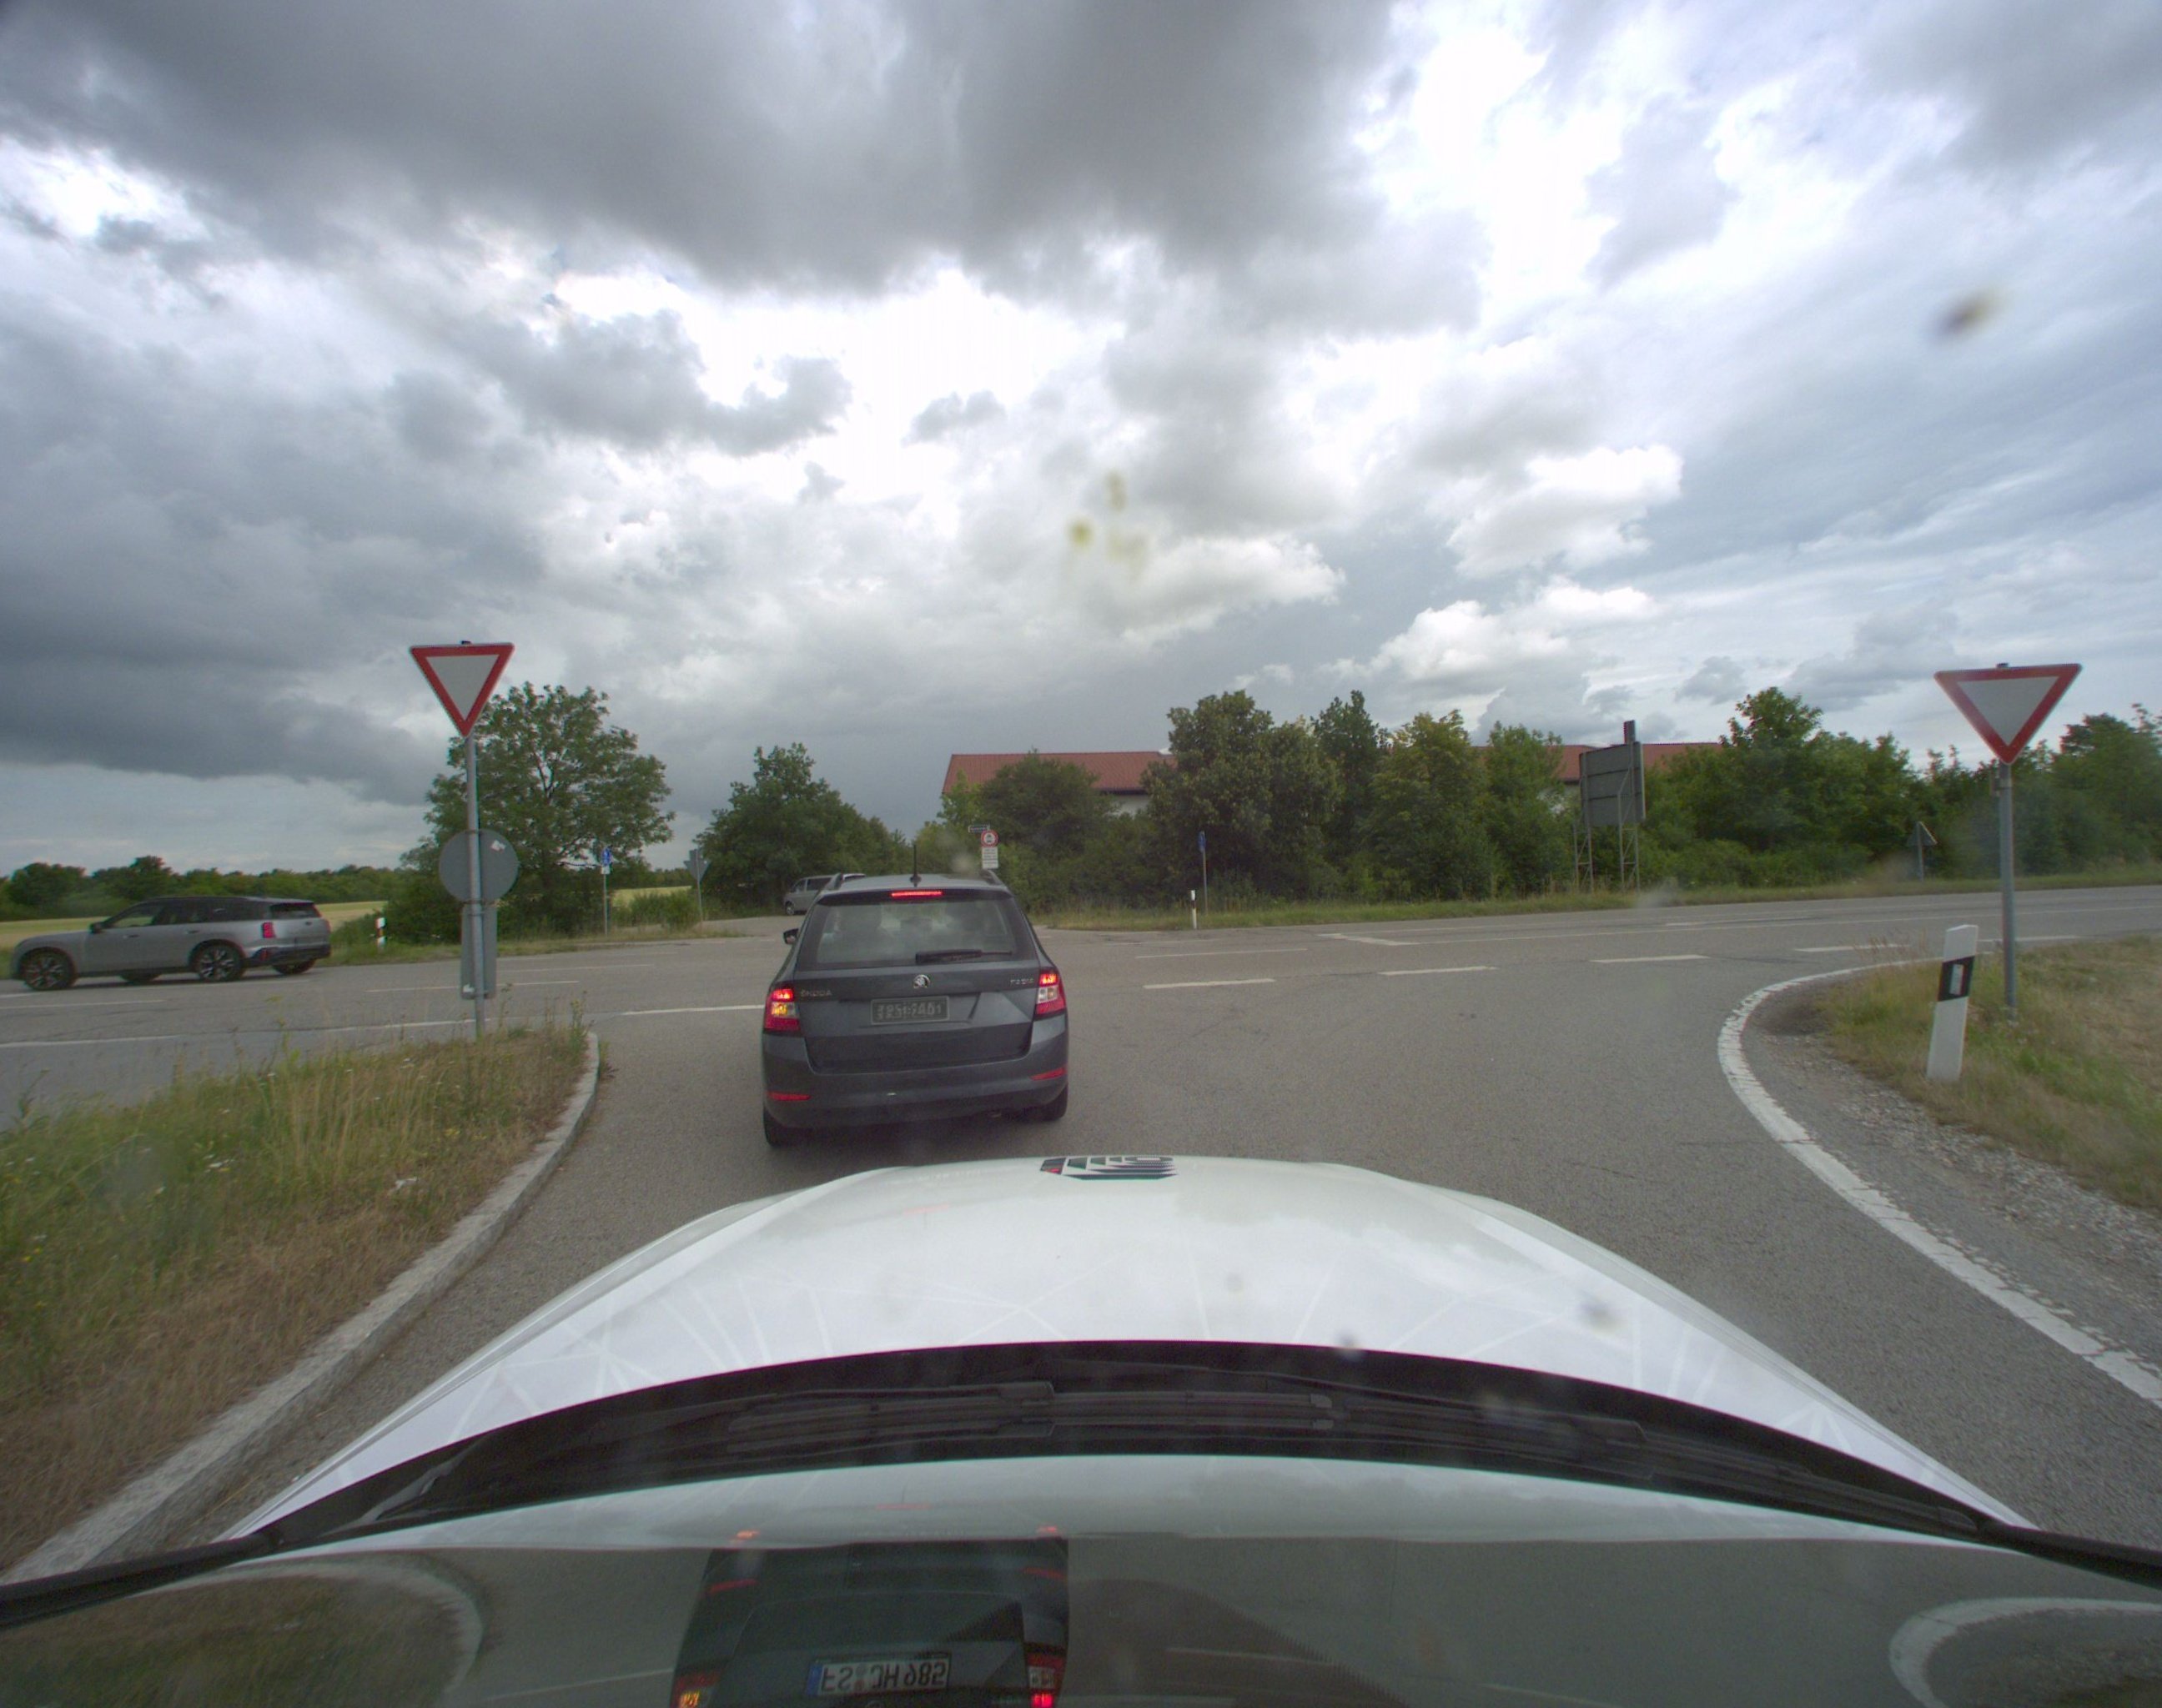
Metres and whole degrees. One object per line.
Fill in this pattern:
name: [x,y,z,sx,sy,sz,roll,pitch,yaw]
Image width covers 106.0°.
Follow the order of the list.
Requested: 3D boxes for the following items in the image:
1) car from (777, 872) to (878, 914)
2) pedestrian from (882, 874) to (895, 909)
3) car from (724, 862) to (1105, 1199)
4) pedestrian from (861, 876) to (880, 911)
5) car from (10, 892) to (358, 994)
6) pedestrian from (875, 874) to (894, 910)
car: [-12.876,1.986,41.208,5.034,1.886,2.127,-4,-1,34]
pedestrian: [-10.006,1.939,42.262,0.488,1.746,0.642,-2,-1,-3]
car: [-1.179,0.816,5.794,1.715,1.447,4.098,-1,-1,-13]
pedestrian: [-10.674,2.009,41.283,0.698,1.723,0.733,-2,-1,1]
car: [-17.367,1.682,16.031,4.245,1.624,1.994,-3,-3,-8]
pedestrian: [-9.814,1.885,40.611,0.722,1.723,0.791,-2,-1,-3]
